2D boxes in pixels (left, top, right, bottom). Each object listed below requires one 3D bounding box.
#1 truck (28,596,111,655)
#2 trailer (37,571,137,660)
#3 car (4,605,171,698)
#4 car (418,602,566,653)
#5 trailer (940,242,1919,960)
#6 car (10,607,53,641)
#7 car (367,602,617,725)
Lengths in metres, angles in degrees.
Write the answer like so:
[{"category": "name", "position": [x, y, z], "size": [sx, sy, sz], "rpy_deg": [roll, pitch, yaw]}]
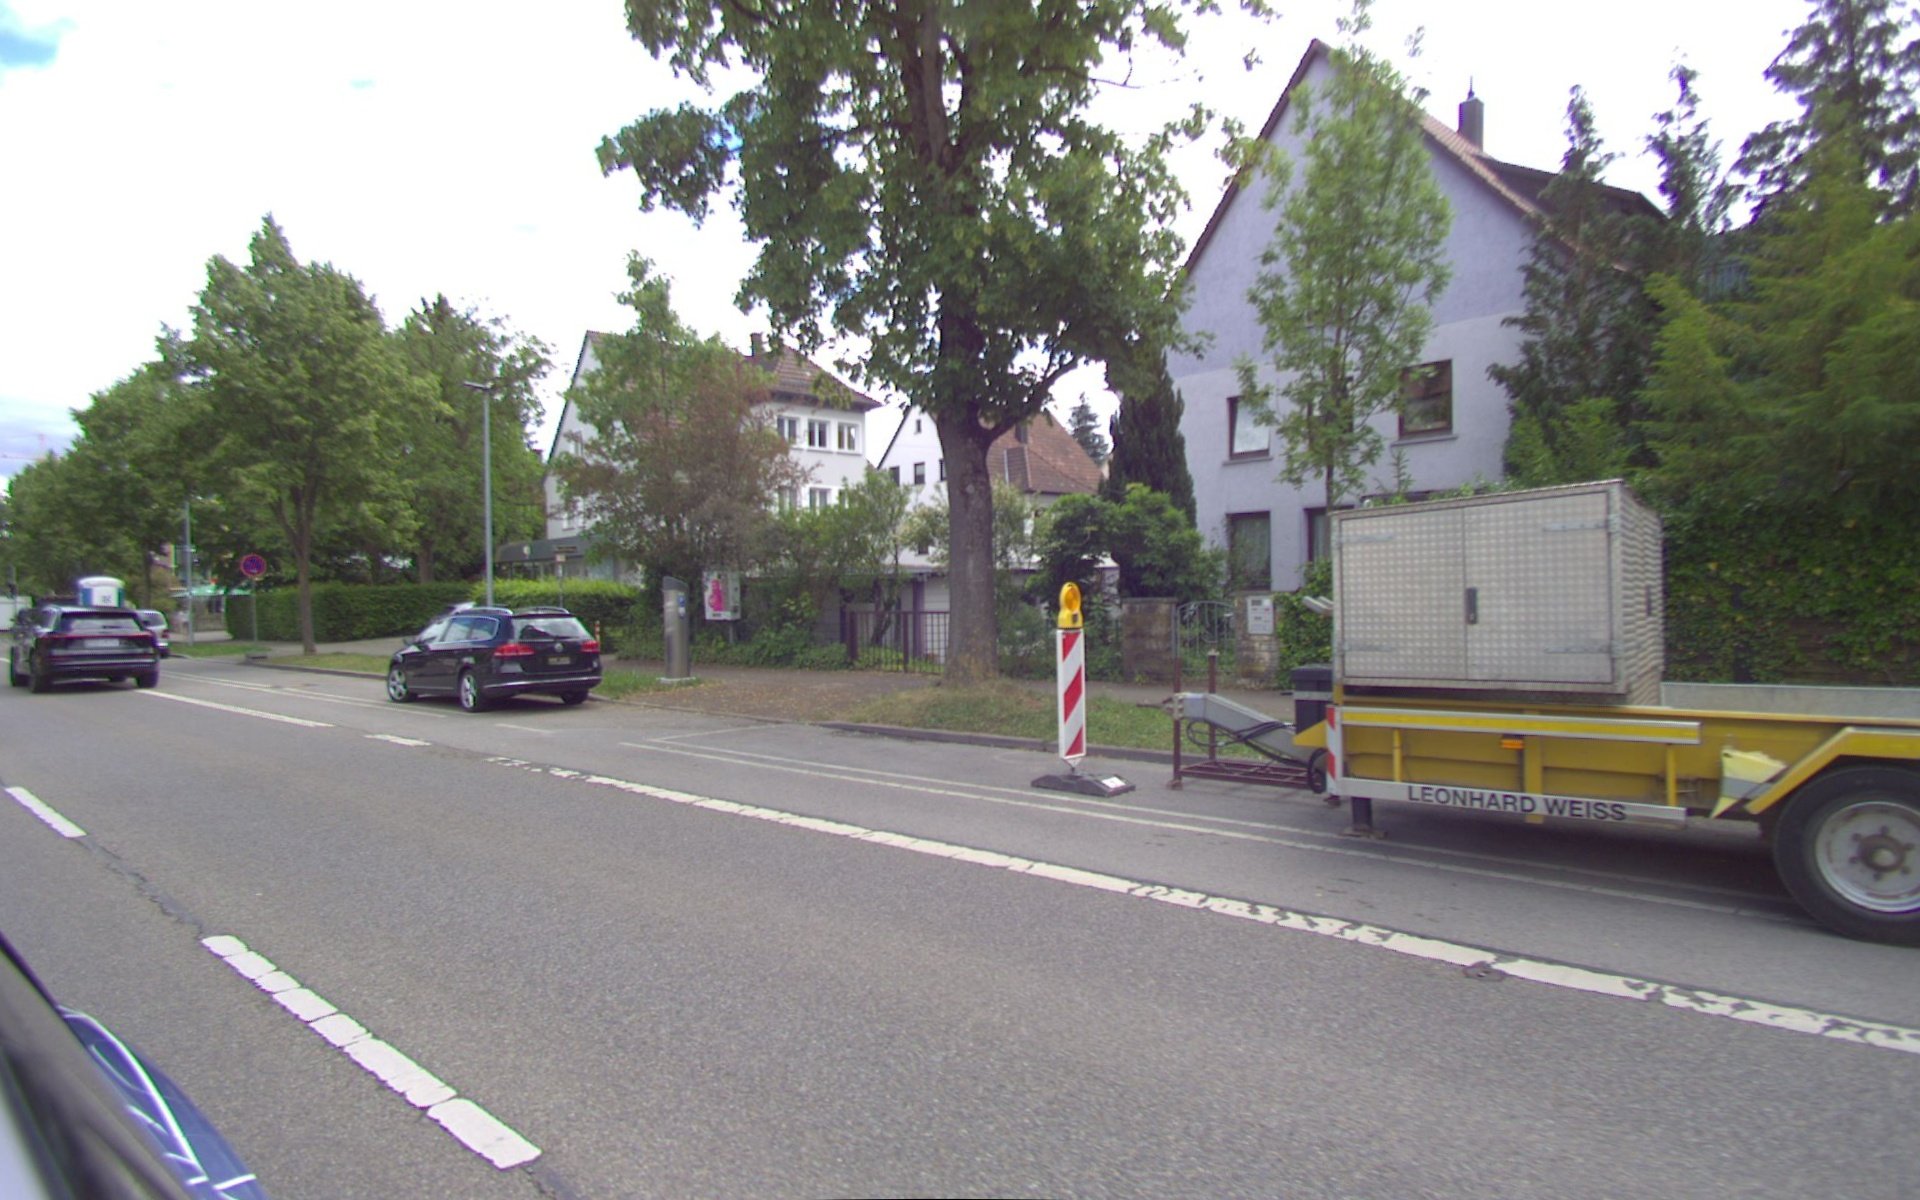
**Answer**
[{"category": "truck", "position": [-37.249, 1.017, 42.266], "size": [2.268, 2.304, 6.467], "rpy_deg": [0, -1, -45]}, {"category": "trailer", "position": [-32.467, 0.567, 37.539], "size": [2.345, 2.985, 7.014], "rpy_deg": [0, -1, -45]}, {"category": "car", "position": [-17.824, 0.984, 20.593], "size": [4.587, 1.680, 1.972], "rpy_deg": [-1, -2, 42]}, {"category": "car", "position": [-15.301, 0.859, 33.213], "size": [4.030, 1.444, 1.803], "rpy_deg": [-3, 1, -42]}, {"category": "trailer", "position": [3.573, -0.010, 6.216], "size": [7.468, 2.963, 2.647], "rpy_deg": [0, 1, 39]}, {"category": "car", "position": [-53.205, 1.351, 57.969], "size": [1.687, 1.888, 4.401], "rpy_deg": [0, 0, -45]}, {"category": "car", "position": [-7.478, 0.863, 15.960], "size": [4.617, 1.564, 1.841], "rpy_deg": [1, 1, 41]}]
